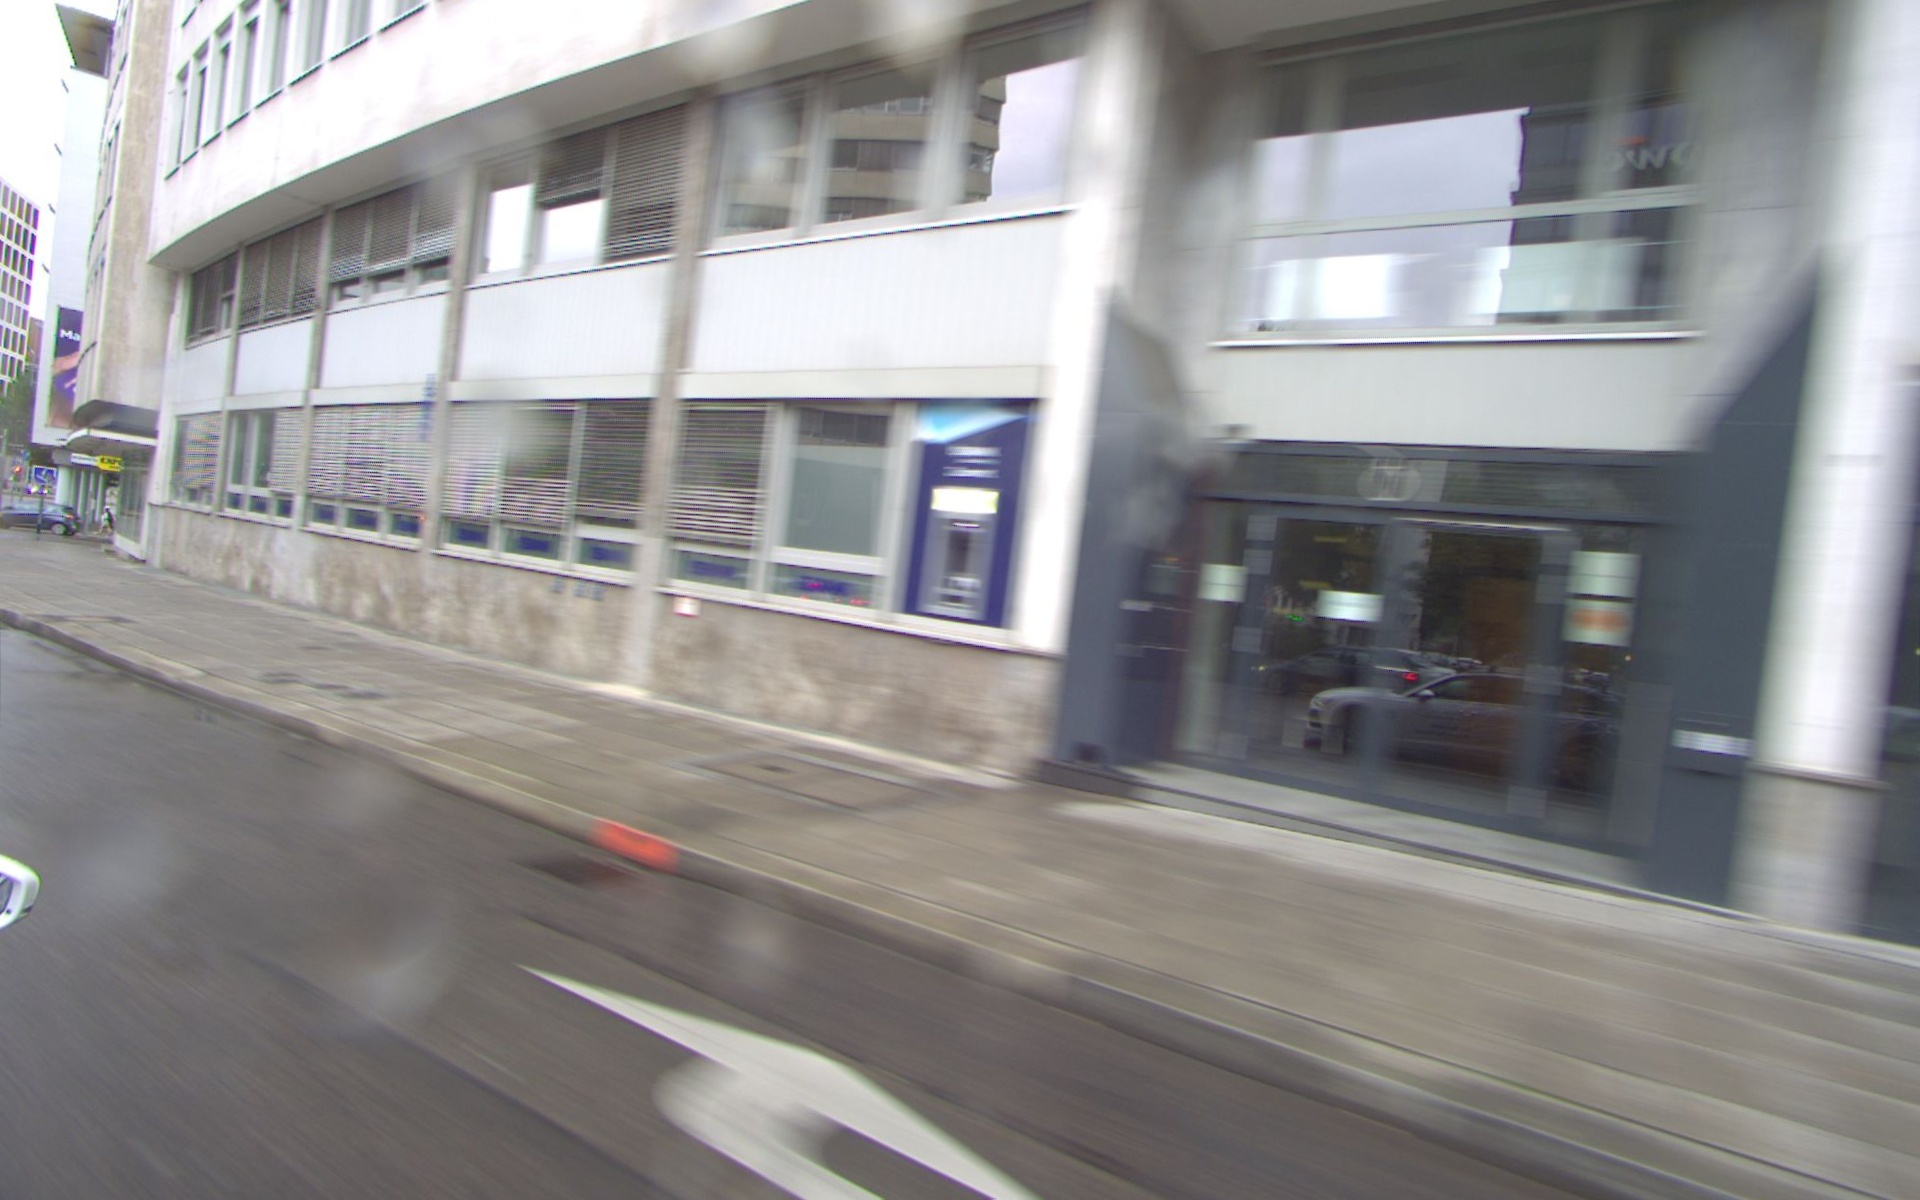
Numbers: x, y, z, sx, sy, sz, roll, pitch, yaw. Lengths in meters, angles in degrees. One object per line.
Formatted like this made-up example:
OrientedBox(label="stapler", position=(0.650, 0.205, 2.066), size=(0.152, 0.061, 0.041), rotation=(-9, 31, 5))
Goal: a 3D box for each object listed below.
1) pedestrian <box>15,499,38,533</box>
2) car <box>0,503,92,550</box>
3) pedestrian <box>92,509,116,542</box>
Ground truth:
OrientedBox(label="pedestrian", position=(-49.583, -4.472, 53.451), size=(0.724, 1.688, 0.683), rotation=(7, -1, -40))
OrientedBox(label="car", position=(-47.267, -3.808, 51.109), size=(4.311, 1.786, 2.038), rotation=(9, -2, -30))
OrientedBox(label="pedestrian", position=(-46.846, -4.089, 55.072), size=(0.761, 1.698, 0.723), rotation=(7, 0, -33))
